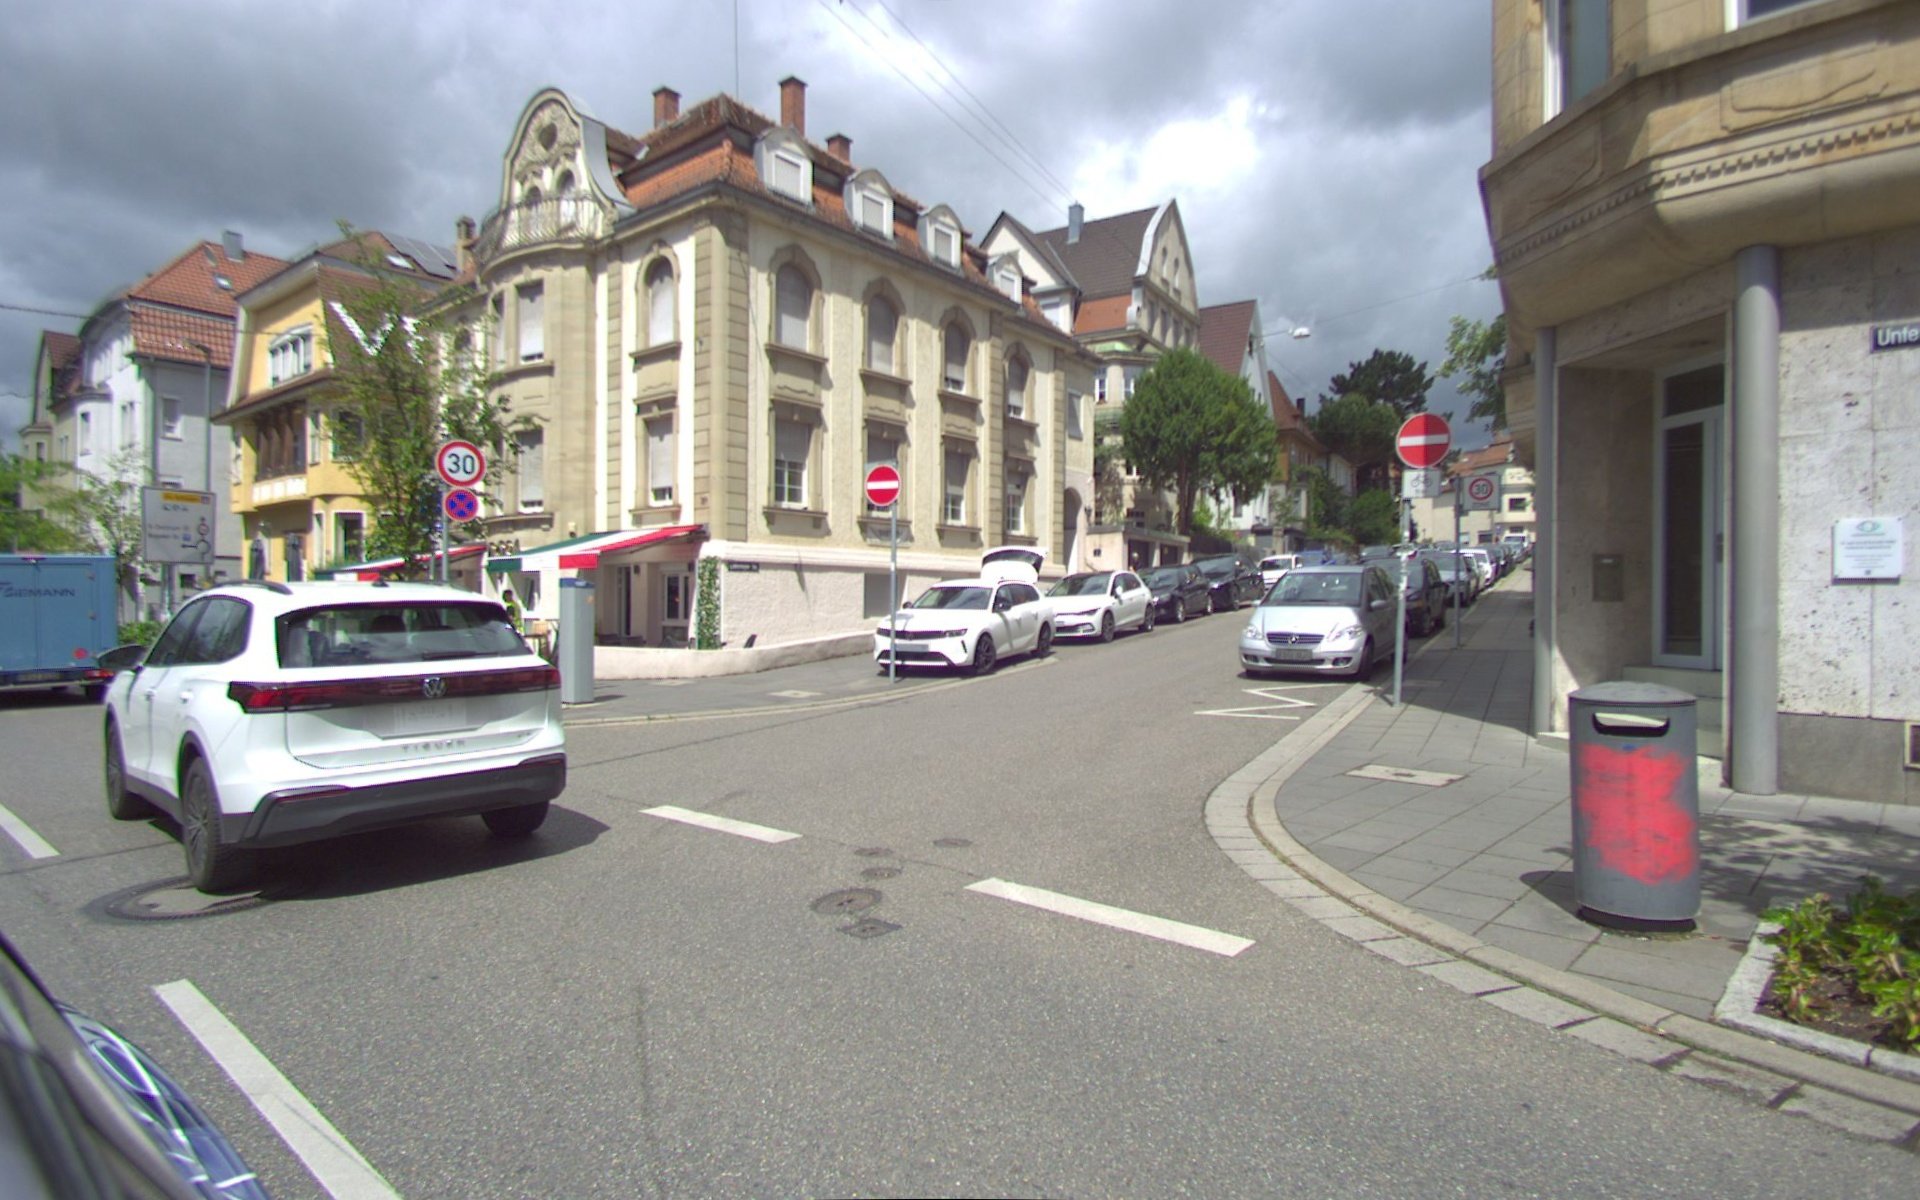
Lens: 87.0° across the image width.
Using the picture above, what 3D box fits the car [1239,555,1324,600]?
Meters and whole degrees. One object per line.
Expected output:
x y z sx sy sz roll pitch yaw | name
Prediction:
12.174 -0.872 38.165 1.828 1.564 4.181 0 2 37 | car

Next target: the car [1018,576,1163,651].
2.942 0.218 22.018 1.822 1.391 4.195 -1 2 27 | car

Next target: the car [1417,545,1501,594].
17.356 -1.078 35.090 1.996 1.573 4.169 0 2 35 | car

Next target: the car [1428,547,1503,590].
19.712 -1.236 39.371 1.996 1.573 4.169 0 2 35 | car

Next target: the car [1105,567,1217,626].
5.397 -0.145 26.785 1.822 1.391 4.195 -1 2 27 | car

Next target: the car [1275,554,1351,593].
14.854 -1.132 42.450 1.828 1.564 4.181 0 2 37 | car

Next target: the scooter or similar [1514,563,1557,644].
10.350 0.036 18.179 0.618 1.365 1.901 0 1 31 | scooter or similar

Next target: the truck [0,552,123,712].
-16.115 0.449 17.044 6.473 2.322 2.084 0 1 41 | truck

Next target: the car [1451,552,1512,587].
24.573 -1.445 47.607 1.996 1.573 4.169 0 2 35 | car

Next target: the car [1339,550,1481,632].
9.678 -0.248 21.590 1.996 1.573 4.169 0 2 35 | car

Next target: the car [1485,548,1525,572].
38.339 -2.800 71.095 1.996 1.573 4.169 0 2 35 | car

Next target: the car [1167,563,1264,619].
7.806 -0.296 30.667 1.848 1.555 3.960 -1 1 29 | car

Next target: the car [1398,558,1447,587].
26.770 -1.633 58.486 1.994 1.573 4.172 0 2 33 | car

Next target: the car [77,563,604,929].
-4.207 0.637 6.589 4.114 1.652 1.769 0 1 41 | car

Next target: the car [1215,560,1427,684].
5.583 0.221 15.320 1.996 1.573 4.169 0 2 35 | car

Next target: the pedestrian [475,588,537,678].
-9.255 0.652 20.638 0.808 1.769 0.794 0 1 25 | pedestrian

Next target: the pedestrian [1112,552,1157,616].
5.663 -0.533 32.821 0.958 2.029 1.040 -2 1 -41 | pedestrian

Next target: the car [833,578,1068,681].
0.004 0.388 16.889 1.992 1.391 4.343 0 2 30 | car

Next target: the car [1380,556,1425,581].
29.587 -2.112 67.626 1.828 1.564 4.181 0 2 37 | car

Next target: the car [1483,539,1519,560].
42.494 -3.936 79.492 1.996 1.573 4.169 0 2 35 | car

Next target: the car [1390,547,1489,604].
14.318 -0.757 30.097 1.996 1.573 4.169 0 2 35 | car
